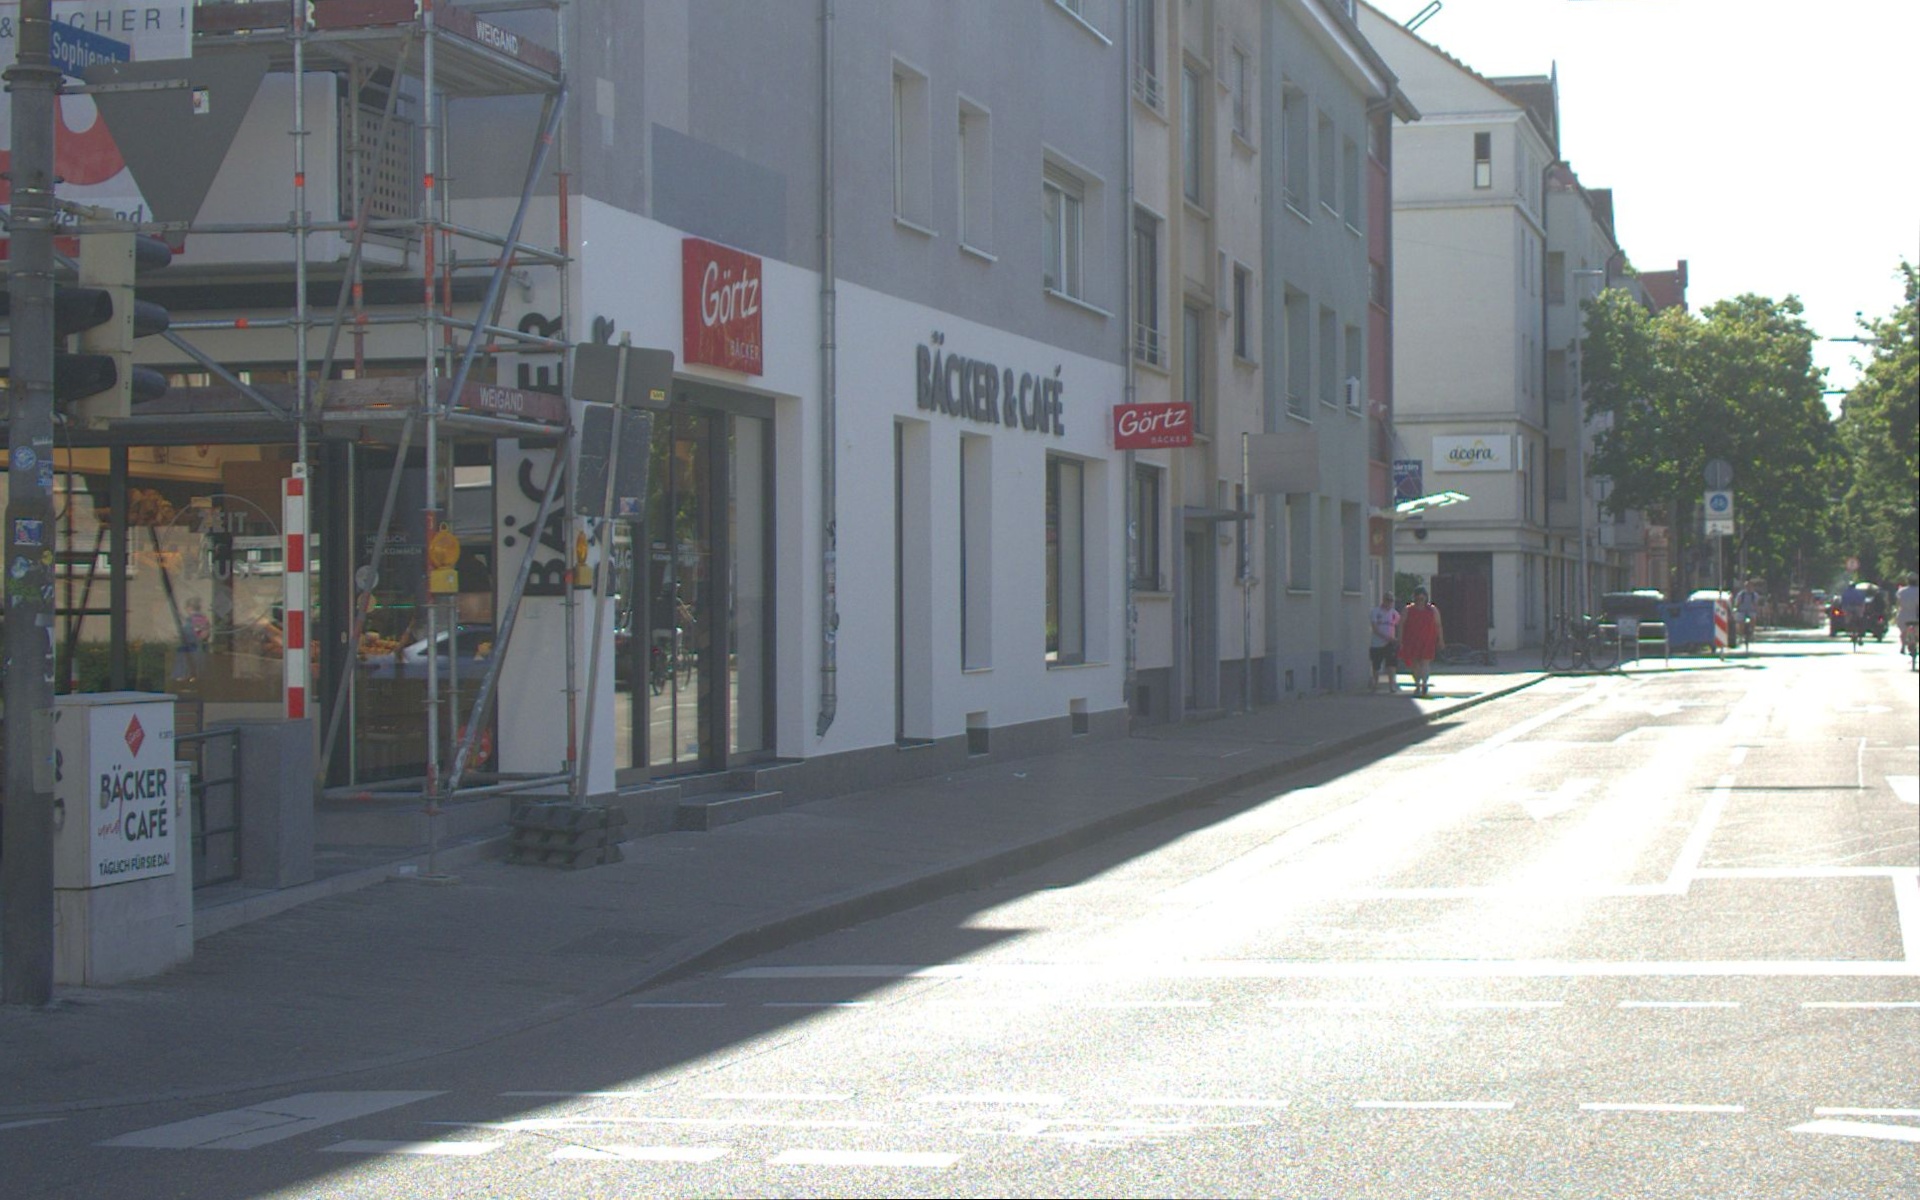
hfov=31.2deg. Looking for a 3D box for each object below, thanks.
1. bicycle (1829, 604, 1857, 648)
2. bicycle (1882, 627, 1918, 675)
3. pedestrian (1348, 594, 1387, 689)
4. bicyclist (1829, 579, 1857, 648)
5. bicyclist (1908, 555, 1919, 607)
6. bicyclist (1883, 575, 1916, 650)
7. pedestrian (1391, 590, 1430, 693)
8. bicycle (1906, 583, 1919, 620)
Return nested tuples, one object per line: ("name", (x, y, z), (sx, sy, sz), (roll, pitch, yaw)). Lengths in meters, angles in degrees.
("bicycle", (21.668, 0.638, 84.378), (0.632, 1.038, 1.794), (-1, 0, 14))
("bicycle", (17.366, 0.937, 63.534), (0.620, 0.863, 1.875), (0, 0, 15))
("pedestrian", (6.330, 0.642, 53.343), (0.577, 1.462, 0.702), (0, 0, 9))
("bicyclist", (21.575, 0.331, 84.019), (0.632, 1.663, 1.050), (-1, 0, 14))
("bicyclist", (24.952, -0.476, 88.756), (0.856, 1.310, 1.209), (2, 1, 14))
("bicyclist", (17.372, 0.228, 63.568), (0.589, 1.378, 0.822), (0, 0, 15))
("pedestrian", (6.919, 0.634, 52.802), (0.577, 1.577, 0.708), (0, 0, 9))
("bicycle", (25.024, 0.042, 89.095), (0.856, 0.942, 2.306), (2, 1, 13))
